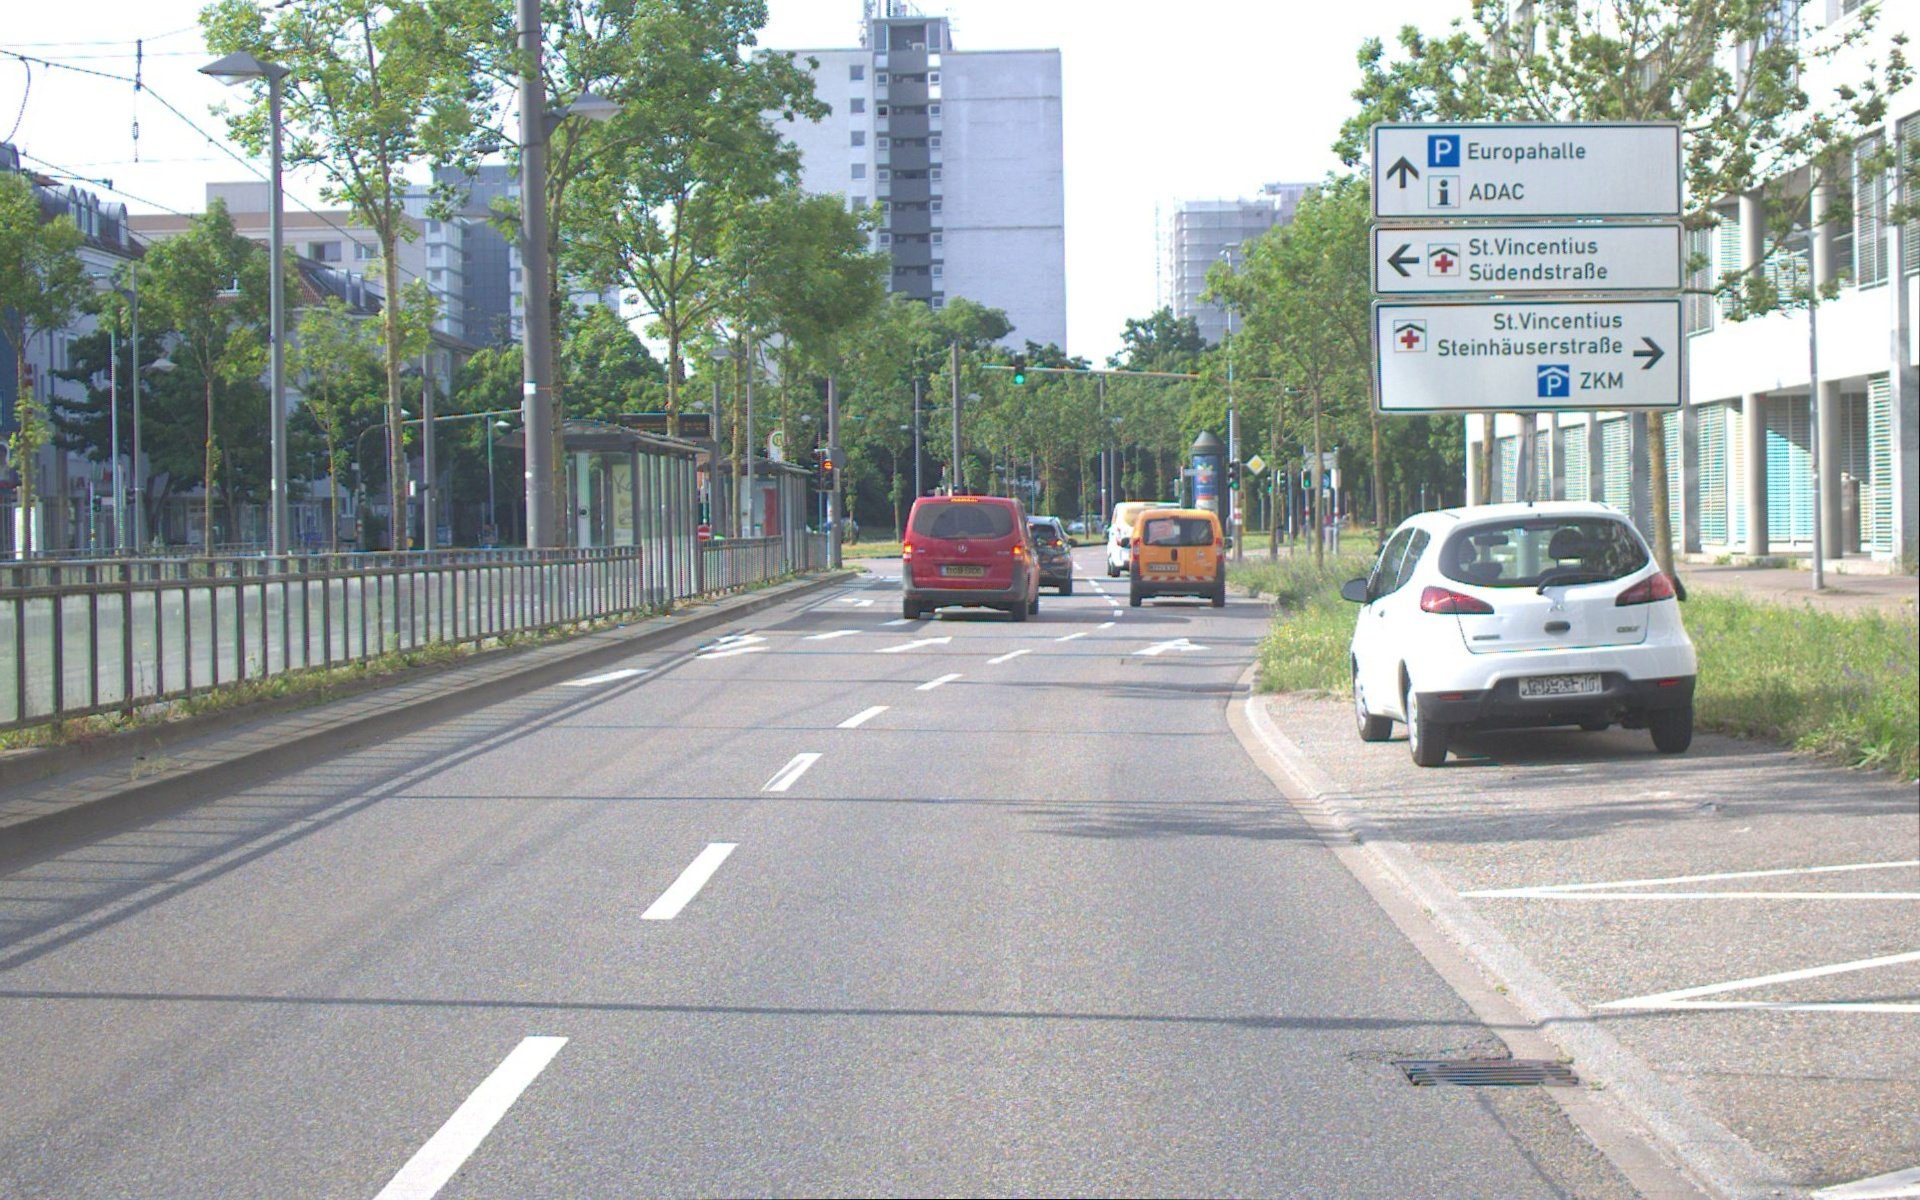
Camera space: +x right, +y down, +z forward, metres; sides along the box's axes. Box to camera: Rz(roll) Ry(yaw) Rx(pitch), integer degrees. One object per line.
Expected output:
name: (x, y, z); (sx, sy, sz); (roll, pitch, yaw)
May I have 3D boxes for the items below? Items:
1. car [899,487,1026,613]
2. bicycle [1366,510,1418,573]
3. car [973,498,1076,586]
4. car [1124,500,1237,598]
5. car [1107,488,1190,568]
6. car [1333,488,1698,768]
car: (0.040, -0.789, 52.883); (1.874, 1.847, 4.000); (0, 1, 0)
bicycle: (7.127, -0.975, 56.790); (0.618, 1.013, 1.880); (0, 1, 0)
car: (1.316, -1.199, 70.050); (1.993, 1.700, 4.000); (-2, 1, 1)
car: (3.907, -0.930, 61.311); (1.876, 1.690, 3.973); (0, 1, 2)
car: (4.956, -1.908, 90.830); (1.993, 2.007, 4.000); (-2, 1, 1)
car: (3.393, 0.117, 21.637); (1.689, 1.521, 3.851); (-3, 1, 1)
